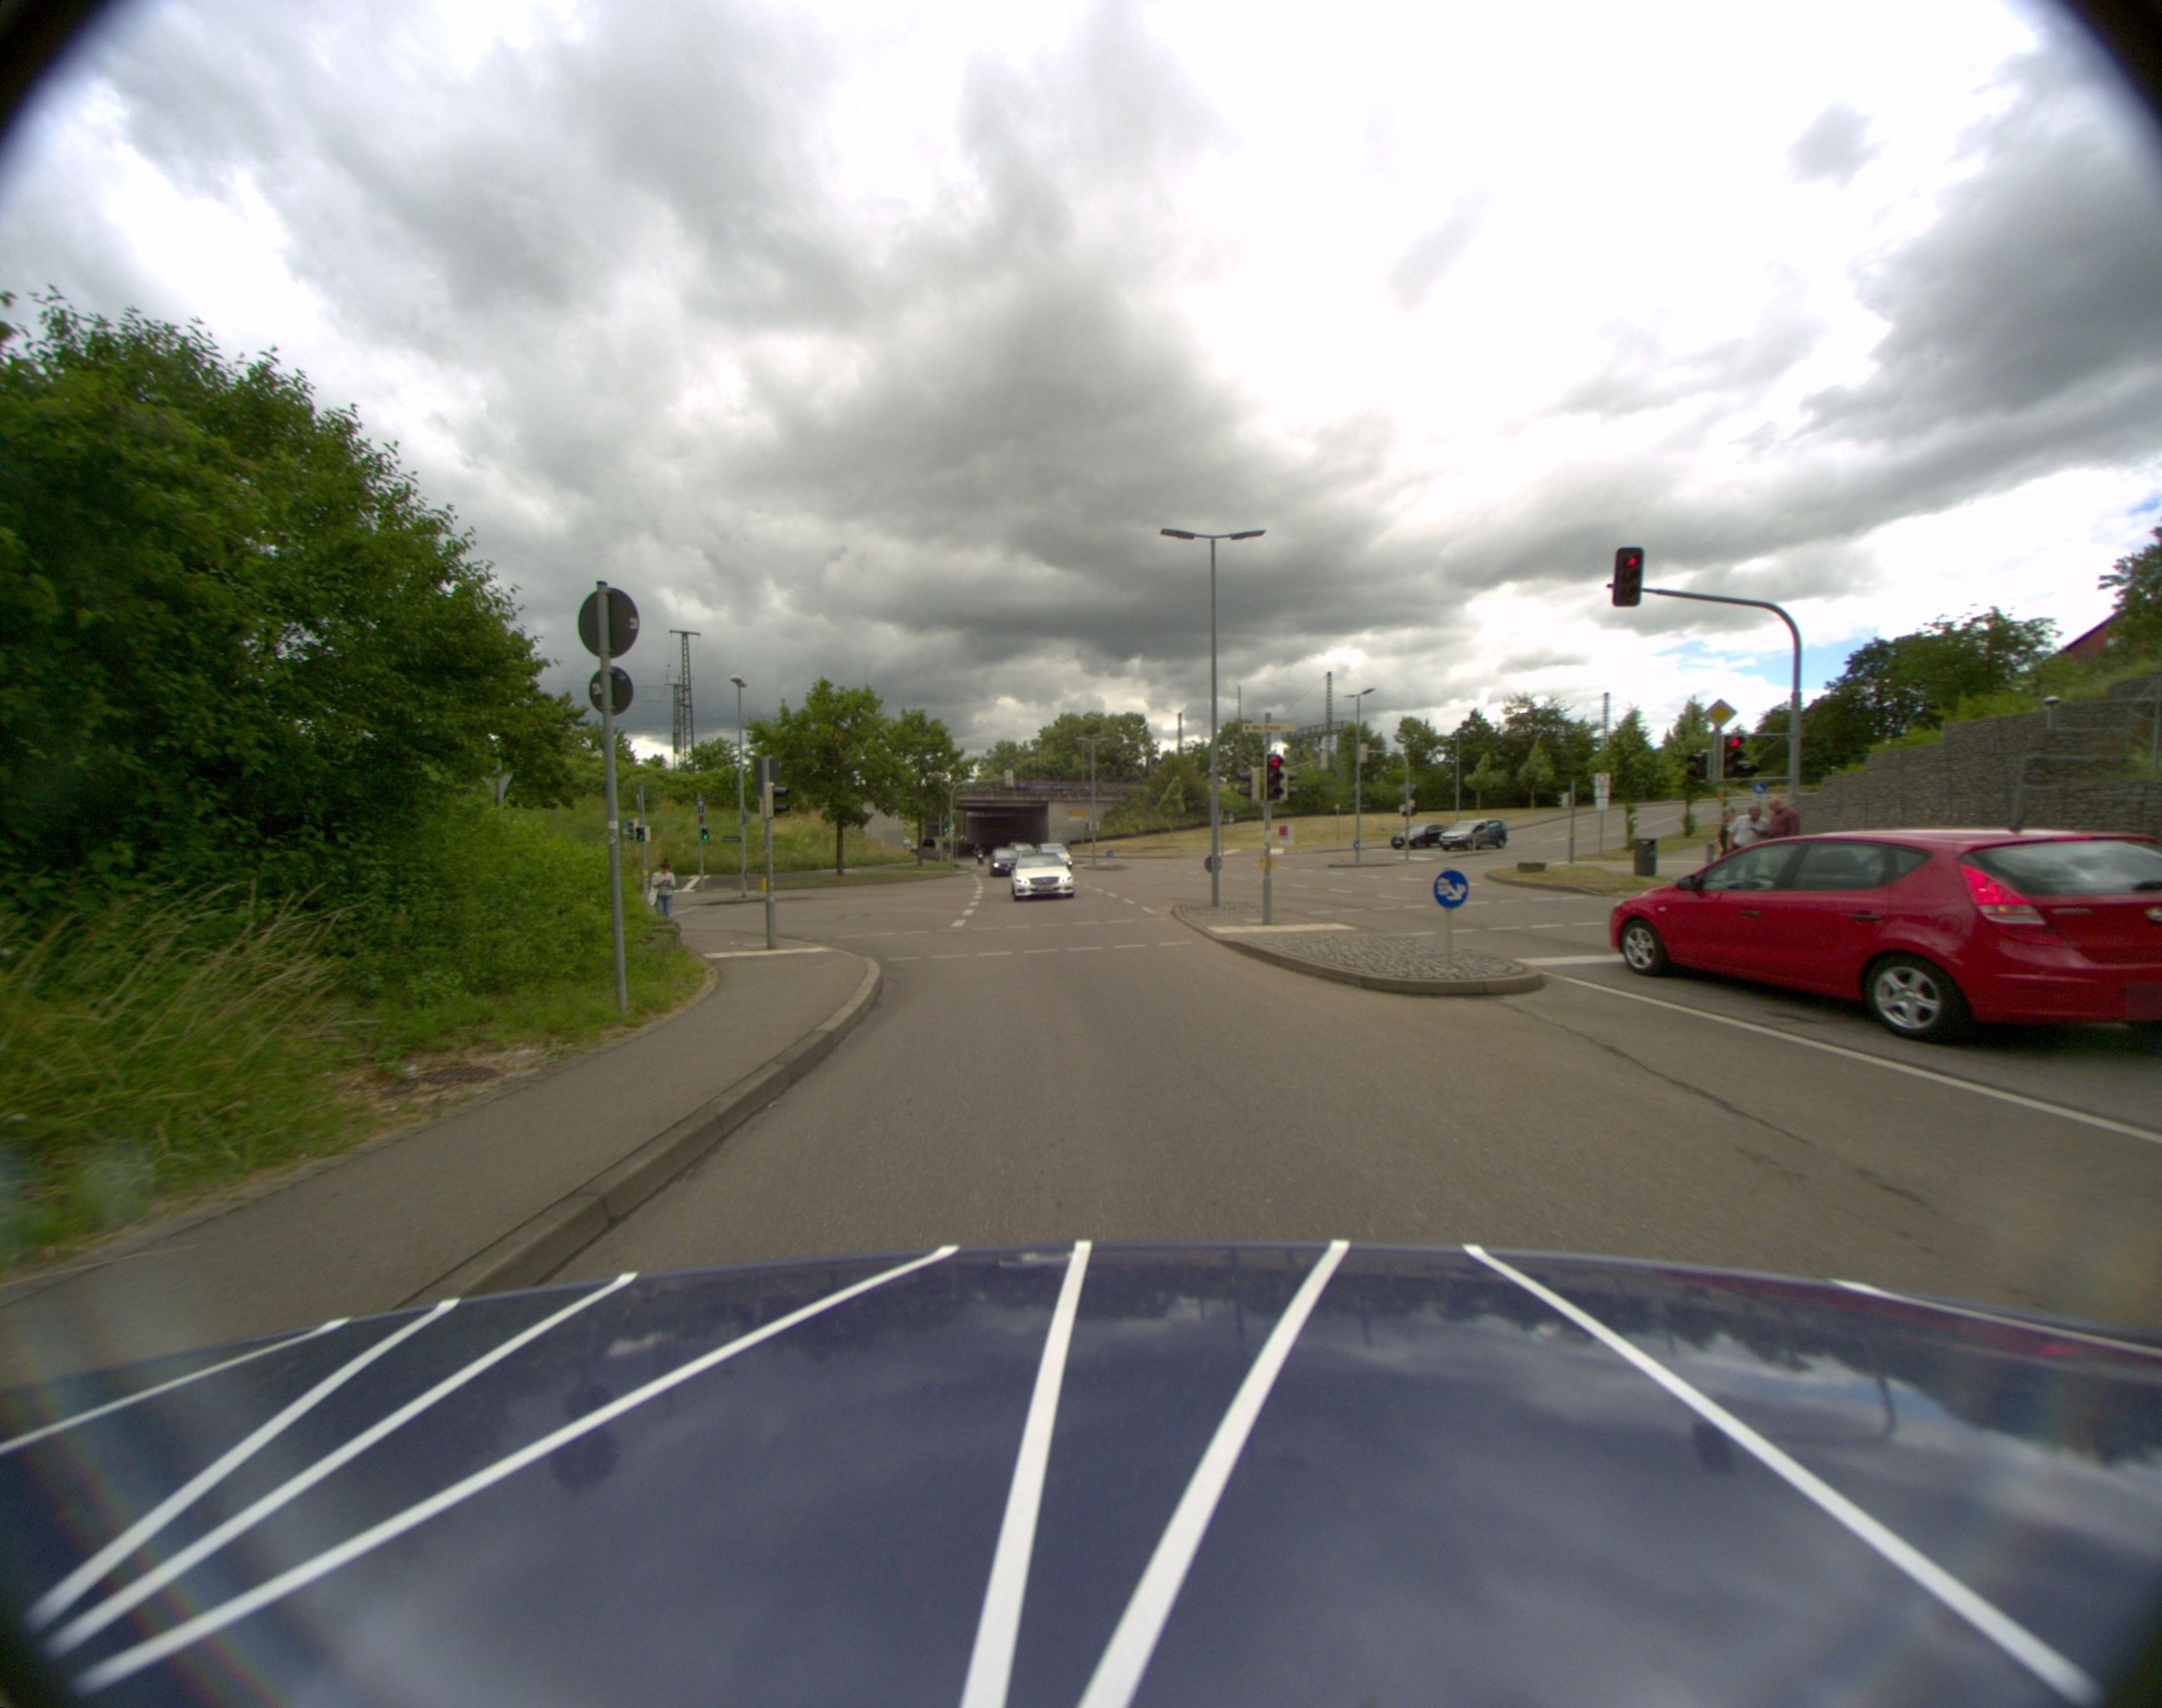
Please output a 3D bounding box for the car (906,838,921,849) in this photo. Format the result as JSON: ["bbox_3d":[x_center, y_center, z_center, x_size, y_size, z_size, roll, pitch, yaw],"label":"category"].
[{"bbox_3d":[-24.145,-1.562,109.425,1.760,1.506,3.883,-3,2,-9],"label":"car"}]

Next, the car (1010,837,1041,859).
[{"bbox_3d":[-4.231,-0.502,57.586,1.760,1.525,4.248,-3,2,-12],"label":"car"}]

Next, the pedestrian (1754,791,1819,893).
[{"bbox_3d":[13.048,-0.233,14.062,0.624,1.817,0.664,-3,3,-15],"label":"pedestrian"}]

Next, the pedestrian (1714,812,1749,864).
[{"bbox_3d":[20.061,-0.499,23.445,0.580,1.549,0.623,-4,3,-22],"label":"pedestrian"}]

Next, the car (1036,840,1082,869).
[{"bbox_3d":[-1.413,-0.005,47.309,1.832,1.629,4.505,-3,2,-15],"label":"car"}]

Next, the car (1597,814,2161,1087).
[{"bbox_3d":[6.550,0.486,6.380,1.758,1.515,4.092,-3,2,2],"label":"car"}]

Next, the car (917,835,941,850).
[{"bbox_3d":[-19.661,-1.541,98.126,1.968,1.781,3.991,-4,3,-25],"label":"car"}]

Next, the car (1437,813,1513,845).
[{"bbox_3d":[23.814,-1.537,45.954,4.267,1.719,1.756,-4,3,-23],"label":"car"}]

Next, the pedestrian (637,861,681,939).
[{"bbox_3d":[-9.073,0.974,16.357,0.580,1.600,0.623,-3,3,-13],"label":"pedestrian"}]

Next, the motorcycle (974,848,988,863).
[{"bbox_3d":[-7.713,0.101,58.719,0.883,1.098,2.359,-3,2,-3],"label":"motorcycle"}]

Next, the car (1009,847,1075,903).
[{"bbox_3d":[-1.313,0.623,24.904,1.906,1.472,4.091,-3,2,-4],"label":"car"}]

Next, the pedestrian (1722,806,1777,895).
[{"bbox_3d":[12.904,-0.065,14.681,0.664,1.669,0.625,-1,3,26],"label":"pedestrian"}]

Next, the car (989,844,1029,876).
[{"bbox_3d":[-4.000,0.291,42.893,1.758,1.532,3.998,-3,2,0],"label":"car"}]

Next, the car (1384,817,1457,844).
[{"bbox_3d":[22.271,-1.534,49.817,4.267,1.543,2.106,-4,3,-26],"label":"car"}]

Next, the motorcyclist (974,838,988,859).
[{"bbox_3d":[-7.738,-0.415,58.732,0.883,1.596,1.243,-3,2,-3],"label":"motorcyclist"}]
